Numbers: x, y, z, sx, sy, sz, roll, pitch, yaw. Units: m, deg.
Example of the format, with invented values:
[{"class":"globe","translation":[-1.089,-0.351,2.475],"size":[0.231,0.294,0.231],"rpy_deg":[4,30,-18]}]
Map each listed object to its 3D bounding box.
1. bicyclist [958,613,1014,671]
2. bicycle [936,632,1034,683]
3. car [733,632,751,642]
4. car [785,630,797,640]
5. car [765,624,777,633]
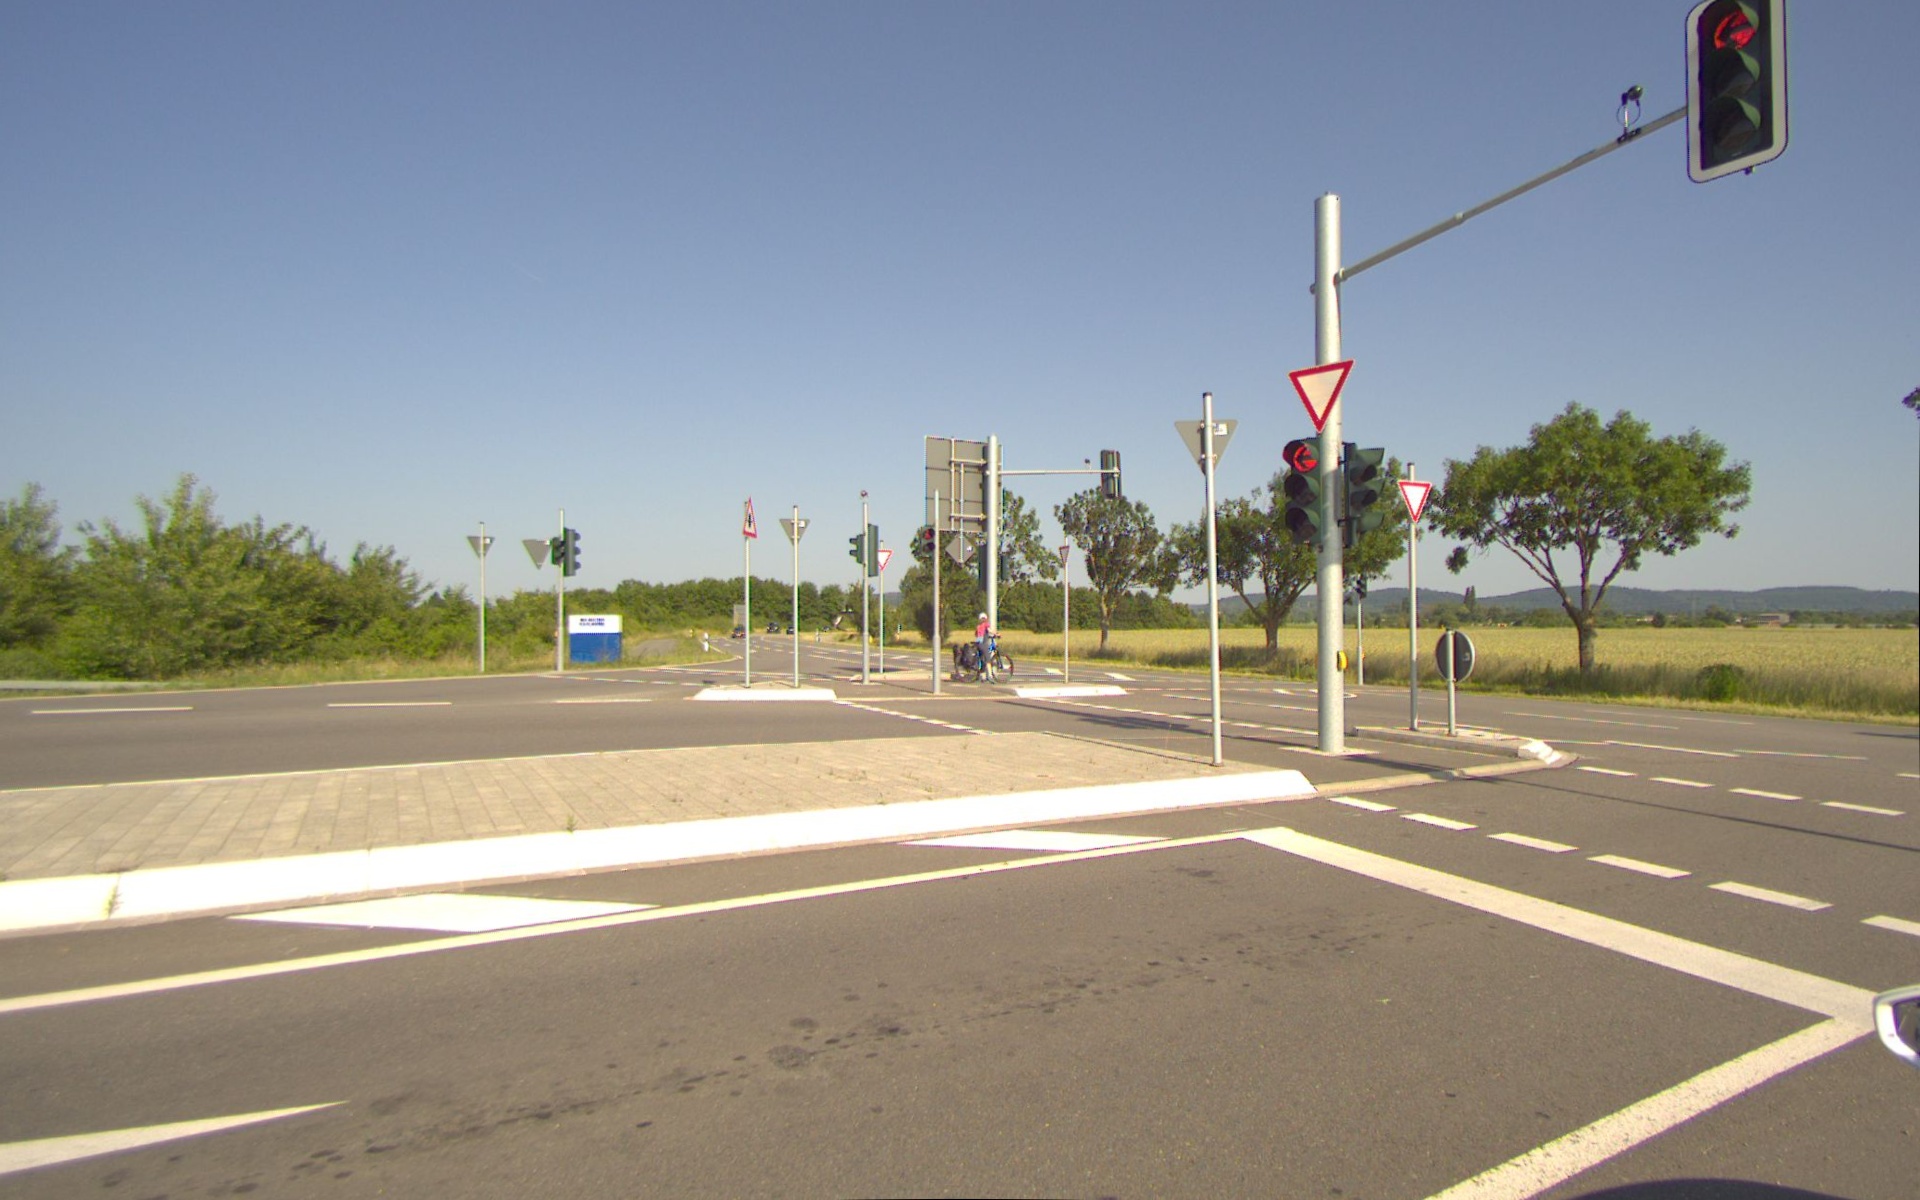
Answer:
[{"class":"bicyclist","translation":[0.634,1.012,24.482],"size":[1.062,1.369,0.851],"rpy_deg":[2,-1,-31]},{"class":"bicycle","translation":[0.605,1.405,24.444],"size":[2.126,1.164,1.065],"rpy_deg":[3,-1,-31]},{"class":"car","translation":[-26.187,4.383,120.573],"size":[1.708,1.127,3.996],"rpy_deg":[2,-2,-7]},{"class":"car","translation":[-29.328,6.079,174.342],"size":[1.696,1.544,3.466],"rpy_deg":[2,-1,-5]},{"class":"car","translation":[-33.624,5.102,179.120],"size":[1.828,1.562,3.996],"rpy_deg":[1,-2,-7]}]
